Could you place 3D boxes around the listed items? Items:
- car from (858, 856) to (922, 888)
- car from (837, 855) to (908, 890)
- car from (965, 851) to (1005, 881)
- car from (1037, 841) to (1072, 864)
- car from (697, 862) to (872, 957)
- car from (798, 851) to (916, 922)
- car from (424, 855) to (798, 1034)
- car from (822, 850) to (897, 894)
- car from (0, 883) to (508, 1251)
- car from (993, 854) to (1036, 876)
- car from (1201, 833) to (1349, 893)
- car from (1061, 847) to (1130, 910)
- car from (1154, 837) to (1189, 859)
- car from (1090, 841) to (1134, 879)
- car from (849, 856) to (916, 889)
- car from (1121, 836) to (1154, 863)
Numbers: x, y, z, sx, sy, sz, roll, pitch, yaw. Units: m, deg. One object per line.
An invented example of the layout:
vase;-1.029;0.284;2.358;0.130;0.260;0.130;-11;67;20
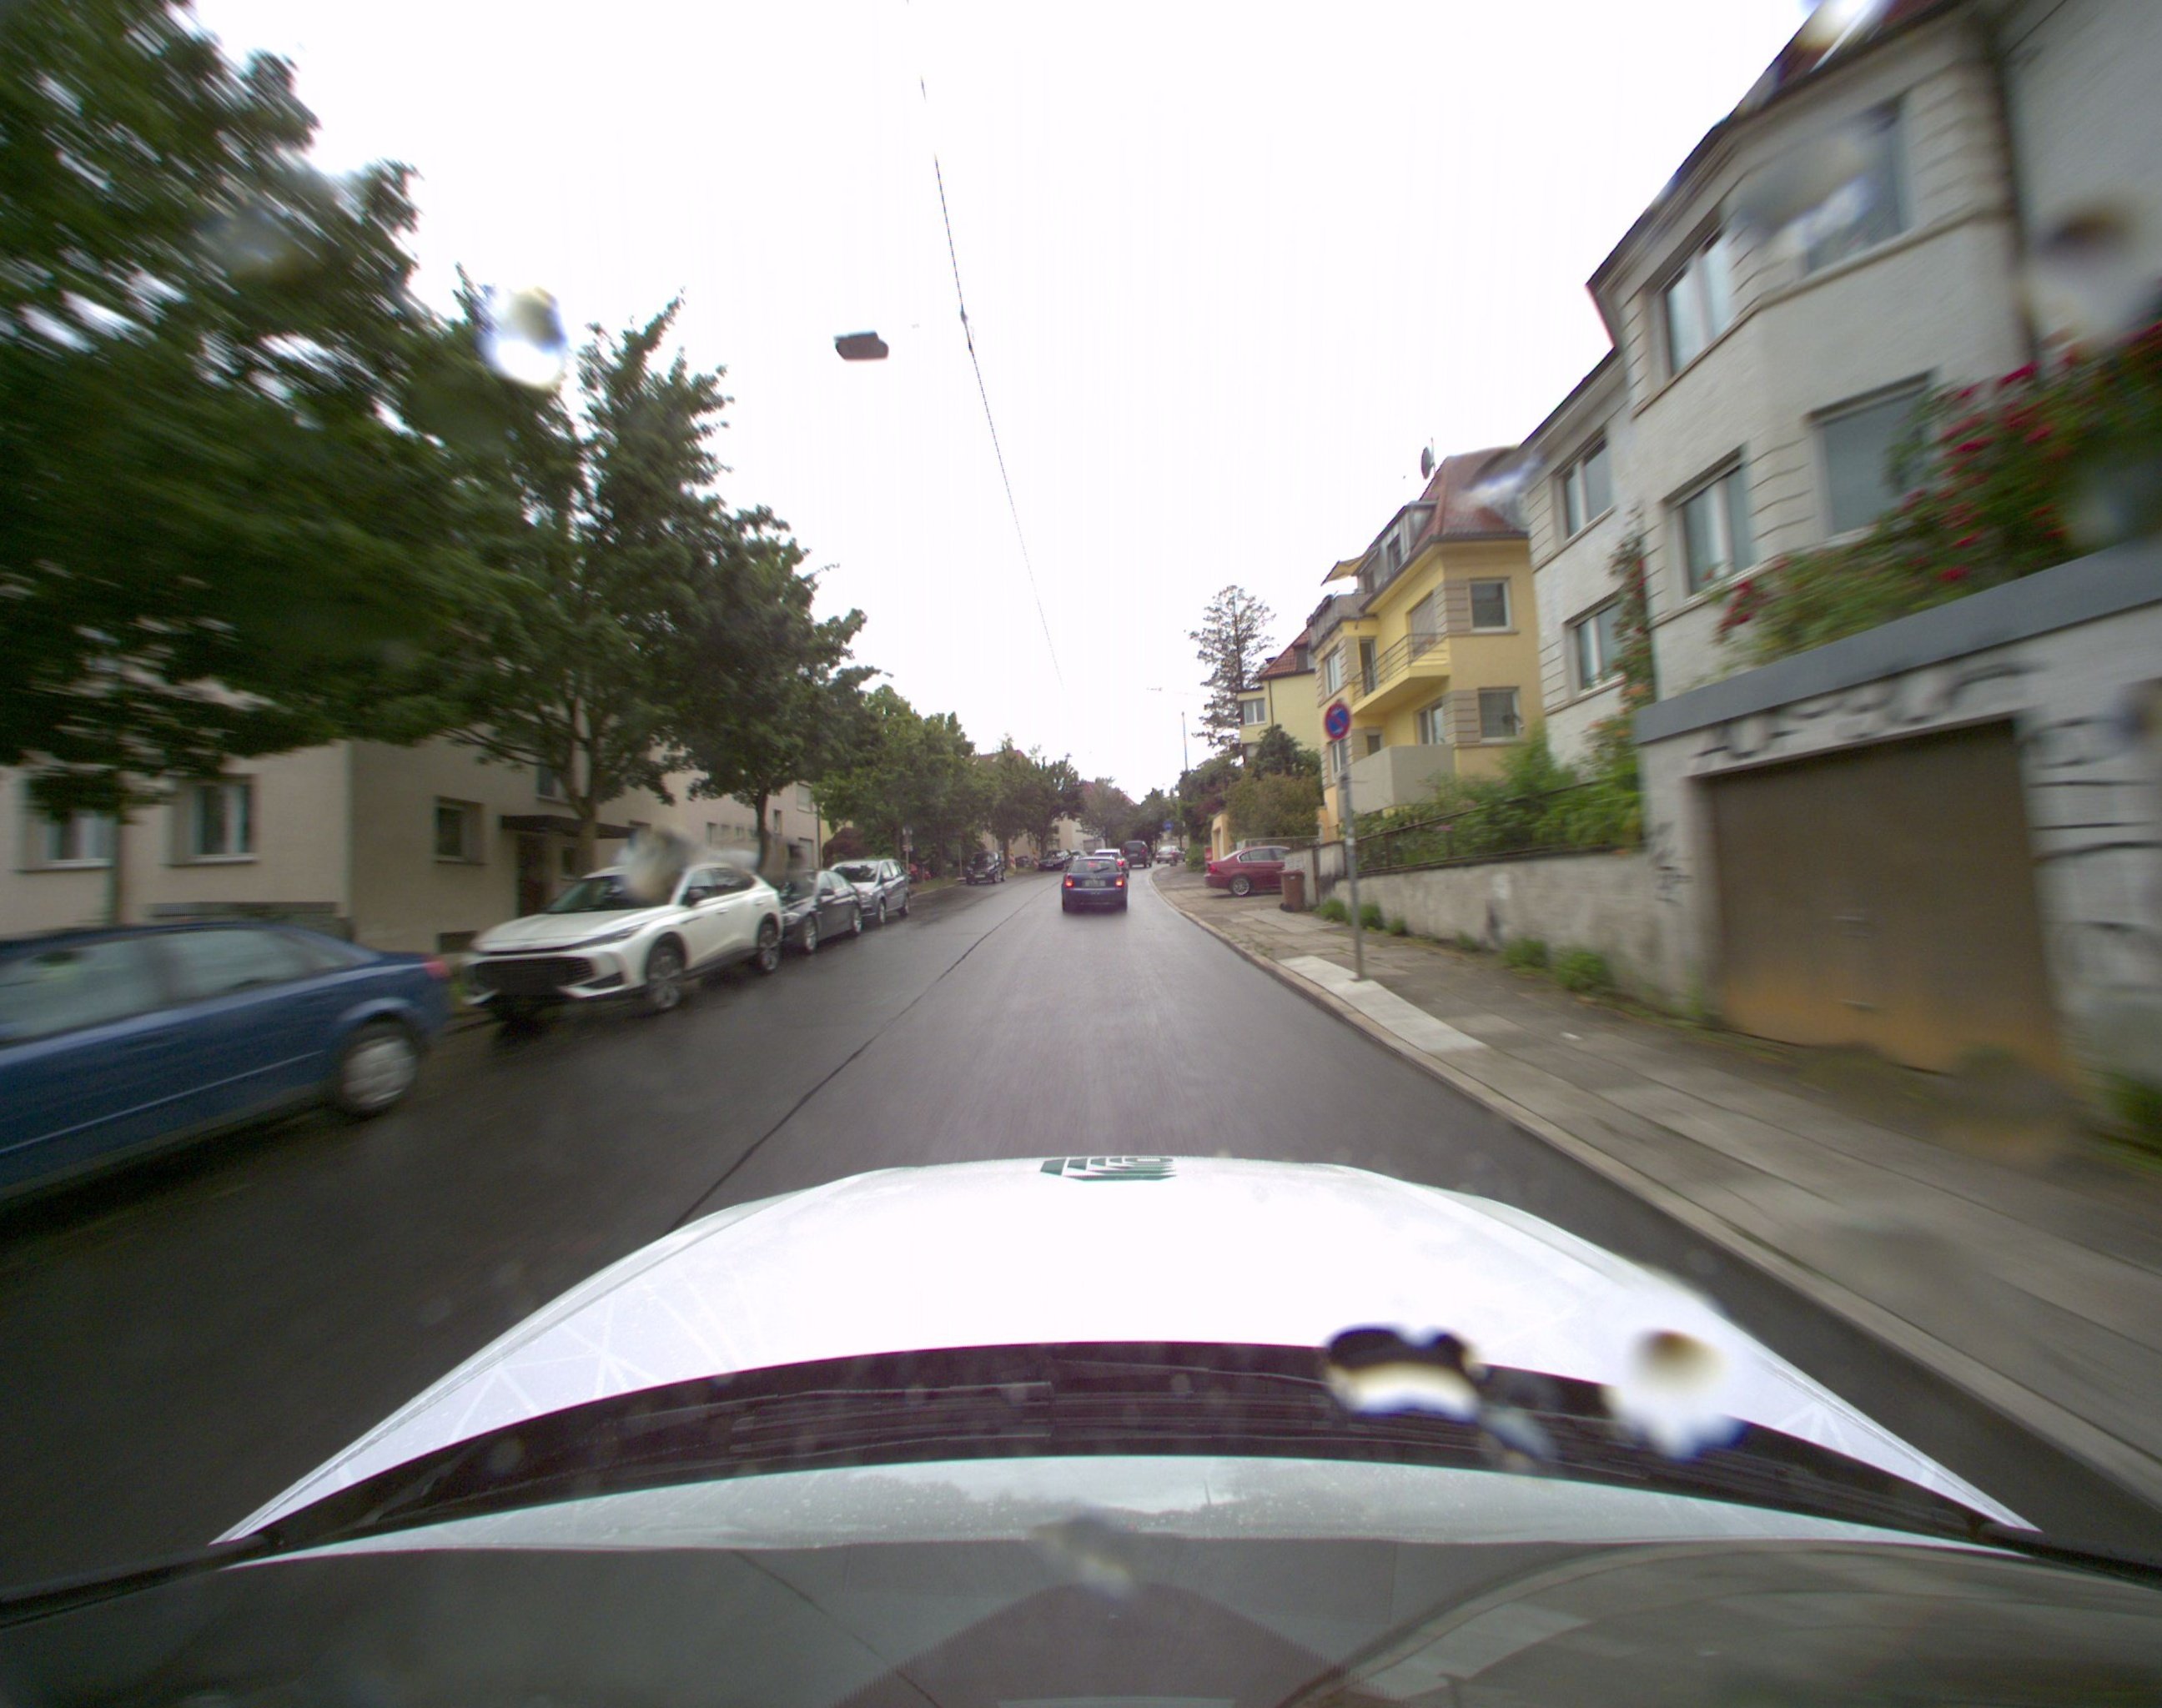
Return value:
car;-11.302;1.052;48.335;3.199;1.372;1.480;-9;1;2
car;-11.181;1.000;43.856;3.198;1.372;1.683;-8;1;2
car;-4.710;0.569;40.338;1.468;1.295;3.224;0;2;3
car;-1.824;-0.127;57.272;1.723;1.466;4.012;1;2;10
car;-5.478;0.942;15.635;1.762;1.473;4.008;-3;0;1
car;-5.594;0.758;20.833;1.762;1.539;4.008;-3;0;1
car;-5.367;0.882;10.219;1.761;1.626;4.692;-3;0;2
car;-11.311;0.888;41.775;3.198;1.740;1.480;-8;1;2
car;-5.547;1.039;4.224;1.762;1.387;4.634;-3;1;0
car;-5.686;0.959;69.901;3.185;1.372;1.486;-9;1;17
car;5.637;0.231;24.037;3.969;1.466;1.741;-3;1;4
car;0.379;0.598;22.535;1.727;1.466;4.001;0;2;1
car;7.724;-0.550;69.565;1.718;1.768;4.259;1;2;24
car;1.487;0.241;38.916;1.967;1.635;4.239;0;2;2
car;-11.204;1.050;46.108;3.198;1.372;1.480;-8;1;2
car;3.953;-0.369;56.635;1.722;1.768;4.249;1;2;12
